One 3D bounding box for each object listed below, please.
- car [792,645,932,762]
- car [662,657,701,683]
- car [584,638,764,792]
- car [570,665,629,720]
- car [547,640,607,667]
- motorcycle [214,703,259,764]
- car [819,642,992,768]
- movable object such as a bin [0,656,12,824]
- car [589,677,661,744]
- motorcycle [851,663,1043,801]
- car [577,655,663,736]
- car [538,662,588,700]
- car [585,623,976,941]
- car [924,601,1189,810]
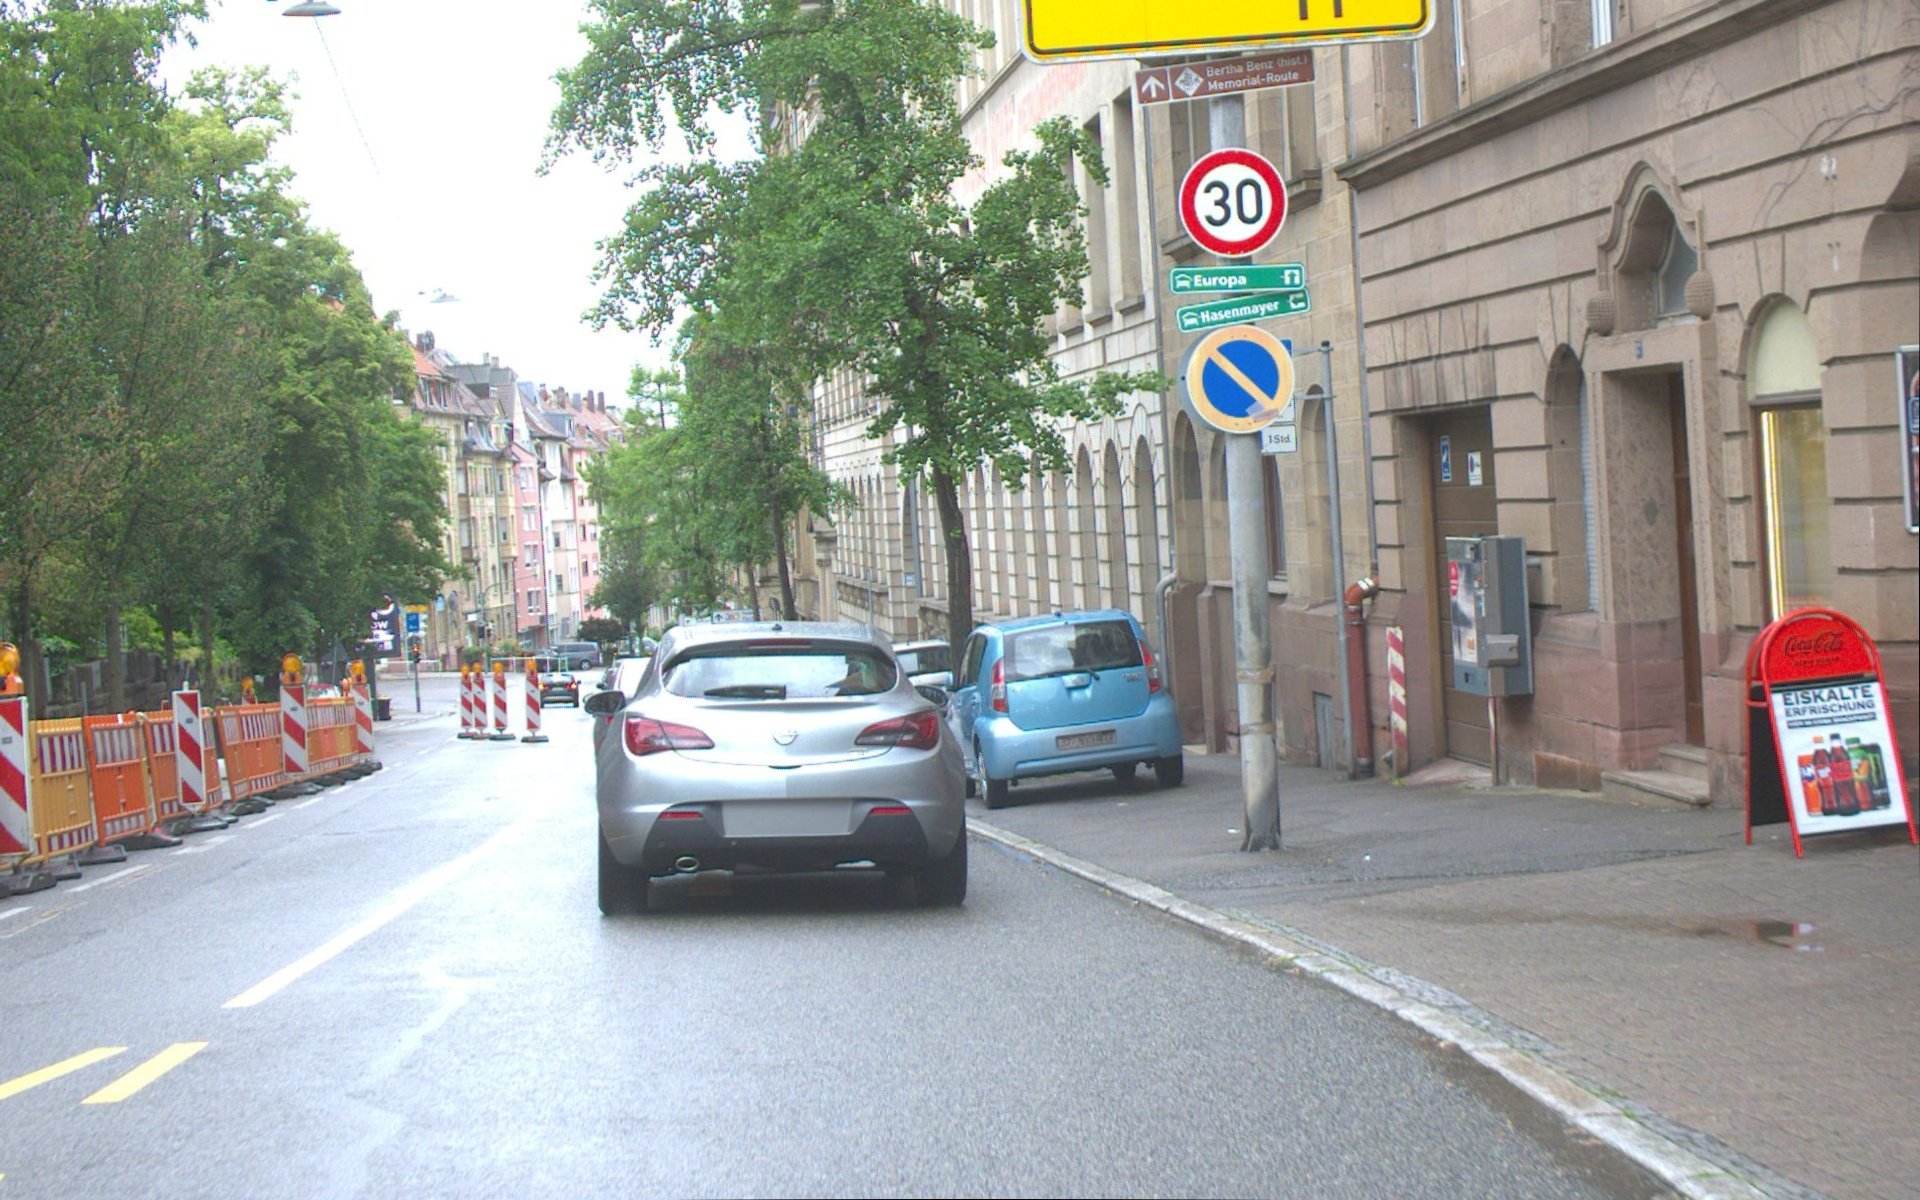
[{"bbox_3d":[-1.484,1.524,51.048,1.638,1.515,3.183,-6,-1,-7],"label":"car"},{"bbox_3d":[-18.318,4.630,226.311,1.994,1.678,3.999,-1,-2,4],"label":"car"},{"bbox_3d":[-3.048,1.197,36.772,1.772,1.499,3.869,-2,-1,-4],"label":"car"},{"bbox_3d":[-11.225,2.869,106.969,1.656,1.538,3.665,-5,-1,-6],"label":"car"},{"bbox_3d":[-25.693,3.585,230.936,3.986,1.744,2.000,0,-2,-6],"label":"car"},{"bbox_3d":[-16.430,3.028,78.074,0.765,1.341,2.203,-1,-2,-6],"label":"motorcycle"},{"bbox_3d":[-0.772,1.376,45.489,1.695,1.426,4.423,-6,-1,-7],"label":"car"},{"bbox_3d":[-14.096,1.953,46.045,1.993,2.292,2.815,-4,-1,-2],"label":"movable object such as a bin"},{"bbox_3d":[-8.554,2.814,87.663,1.656,1.538,3.665,-5,-1,-6],"label":"car"},{"bbox_3d":[-0.124,1.348,35.269,1.933,1.231,0.657,-5,0,-42],"label":"motorcycle"},{"bbox_3d":[-7.224,2.022,72.805,1.656,1.538,3.665,-5,-1,-6],"label":"car"},{"bbox_3d":[-17.255,3.536,149.304,1.993,1.496,4.000,-3,-1,-8],"label":"car"},{"bbox_3d":[-0.982,0.894,18.224,1.811,1.445,3.869,-2,-1,-4],"label":"car"},{"bbox_3d":[0.755,0.898,29.436,1.656,1.538,3.665,-5,-1,-6],"label":"car"}]
